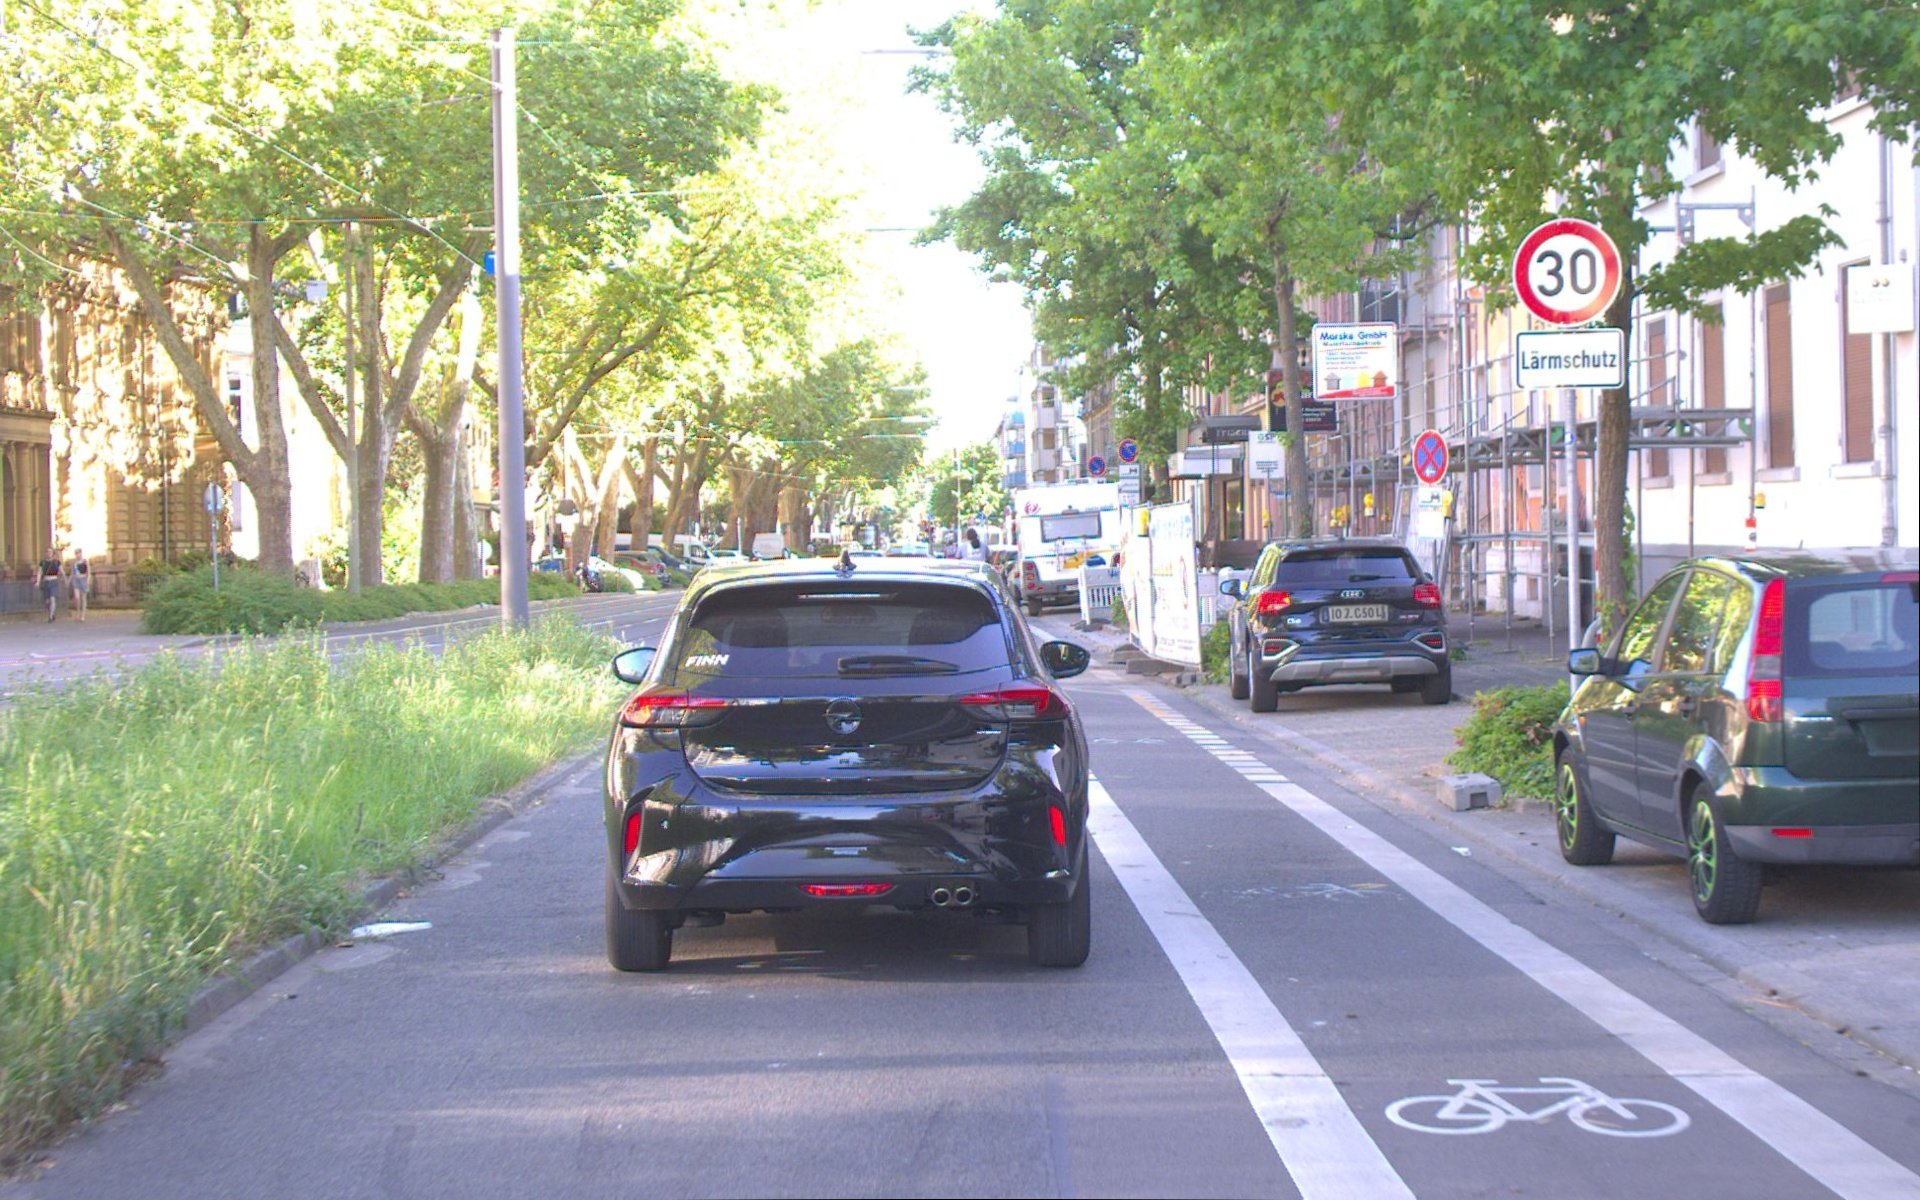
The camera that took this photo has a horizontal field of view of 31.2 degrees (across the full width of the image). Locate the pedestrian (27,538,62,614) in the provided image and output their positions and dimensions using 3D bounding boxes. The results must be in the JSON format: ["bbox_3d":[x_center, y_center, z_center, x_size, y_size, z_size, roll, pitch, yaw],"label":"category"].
[{"bbox_3d":[-20.885,-0.551,78.453,0.618,1.727,0.596,1,1,-1],"label":"pedestrian"}]

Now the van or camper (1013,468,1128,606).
[{"bbox_3d":[2.469,-1.424,77.969,2.486,2.983,5.434,1,1,1],"label":"van or camper"}]

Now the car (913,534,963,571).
[{"bbox_3d":[-0.888,-1.950,140.592,1.905,1.420,4.215,-1,1,1],"label":"car"}]

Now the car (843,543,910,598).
[{"bbox_3d":[-2.456,-0.891,101.829,1.790,1.505,3.874,-3,1,1],"label":"car"}]

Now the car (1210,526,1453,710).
[{"bbox_3d":[3.355,0.112,31.684,1.790,1.505,3.874,-3,1,1],"label":"car"}]

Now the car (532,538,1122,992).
[{"bbox_3d":[-0.395,0.503,13.347,1.905,1.420,4.215,-1,1,1],"label":"car"}]

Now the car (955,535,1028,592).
[{"bbox_3d":[0.859,-1.002,92.480,1.905,1.420,4.215,-1,1,1],"label":"car"}]

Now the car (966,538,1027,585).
[{"bbox_3d":[1.202,-1.273,111.863,1.905,1.420,4.215,-1,1,1],"label":"car"}]

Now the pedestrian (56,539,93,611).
[{"bbox_3d":[-20.225,-0.569,78.506,0.658,1.616,0.615,1,1,-1],"label":"pedestrian"}]

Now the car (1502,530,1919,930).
[{"bbox_3d":[3.560,0.437,14.666,1.685,1.415,4.049,-2,1,-2],"label":"car"}]

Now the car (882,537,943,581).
[{"bbox_3d":[-1.586,-1.396,116.207,1.905,1.420,4.215,-1,1,1],"label":"car"}]

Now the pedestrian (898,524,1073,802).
[{"bbox_3d":[0.137,0.345,19.892,0.970,1.557,0.972,-1,1,-1],"label":"pedestrian"}]

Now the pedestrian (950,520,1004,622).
[{"bbox_3d":[0.335,-0.595,69.014,1.036,2.017,1.212,-1,1,-1],"label":"pedestrian"}]

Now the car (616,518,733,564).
[{"bbox_3d":[-14.453,-2.992,174.068,5.687,2.190,2.289,-1,1,0],"label":"car"}]
